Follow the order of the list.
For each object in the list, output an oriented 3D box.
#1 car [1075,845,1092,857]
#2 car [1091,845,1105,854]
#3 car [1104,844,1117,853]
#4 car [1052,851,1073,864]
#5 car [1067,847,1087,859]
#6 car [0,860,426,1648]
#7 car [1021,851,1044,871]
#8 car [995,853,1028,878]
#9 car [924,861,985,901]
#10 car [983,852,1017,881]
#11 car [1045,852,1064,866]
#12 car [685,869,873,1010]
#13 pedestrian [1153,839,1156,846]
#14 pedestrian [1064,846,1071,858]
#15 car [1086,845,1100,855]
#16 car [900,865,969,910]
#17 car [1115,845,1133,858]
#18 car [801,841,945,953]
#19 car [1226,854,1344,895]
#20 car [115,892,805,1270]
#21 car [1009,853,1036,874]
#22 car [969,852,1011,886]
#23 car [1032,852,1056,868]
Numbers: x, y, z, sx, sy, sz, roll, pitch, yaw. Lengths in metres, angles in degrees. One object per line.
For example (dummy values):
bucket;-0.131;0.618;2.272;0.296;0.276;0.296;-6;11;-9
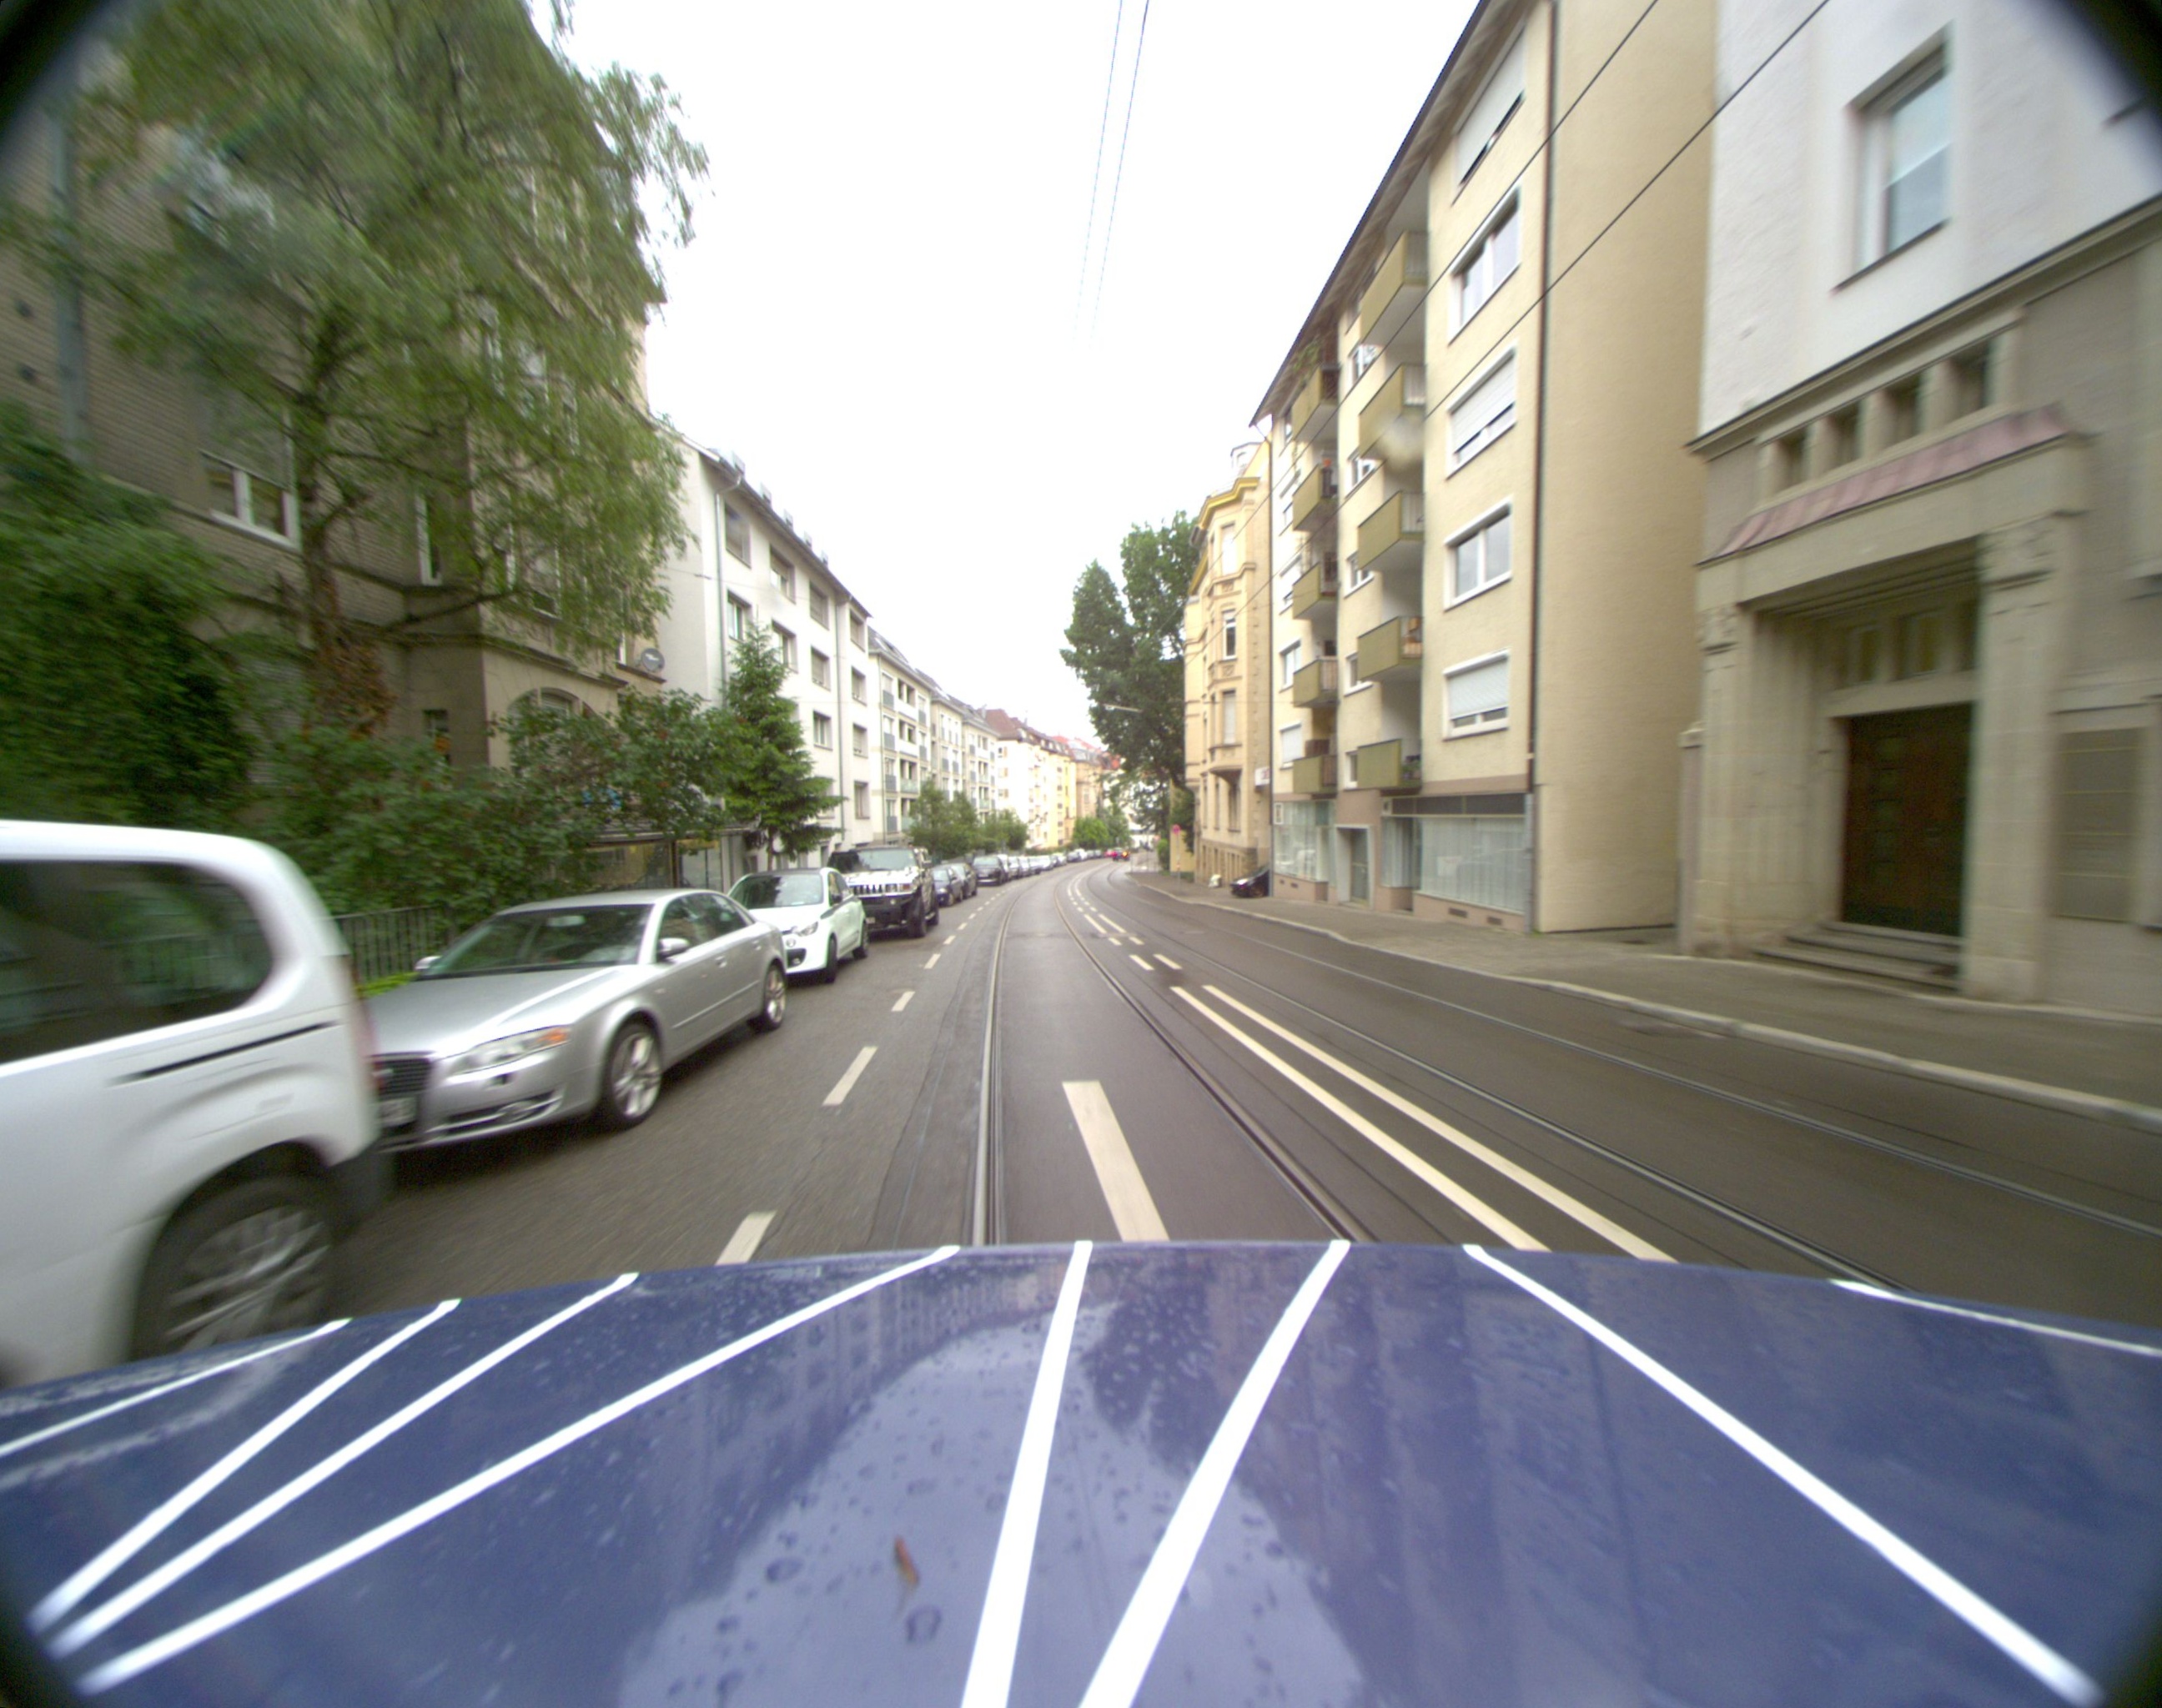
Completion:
car;0.355;-0.432;105.969;1.797;1.613;3.869;-2;1;8
car;2.737;-0.725;119.589;1.658;1.360;3.637;-2;1;10
car;4.959;-0.983;127.028;1.555;1.360;3.126;-2;1;15
car;-2.119;0.411;89.829;1.721;1.459;4.392;-1;1;8
car;-0.550;-0.193;100.528;1.797;1.444;4.105;-2;1;11
car;-3.261;0.958;0.641;1.803;1.755;4.460;-3;1;-6
car;-4.303;0.604;68.069;1.980;1.576;4.564;-1;1;-3
car;-5.152;0.824;56.884;1.836;1.647;4.686;-1;1;1
car;-5.213;1.060;31.820;1.799;1.429;4.610;-2;0;-1
car;-5.373;0.794;50.863;1.783;1.785;4.470;-1;0;0
car;-2.953;0.512;85.070;1.599;1.416;3.516;-1;1;6
car;-4.150;1.072;11.040;1.565;1.537;3.582;-3;1;-6
pedestrian;16.614;-2.610;171.418;0.649;1.652;0.650;0;1;6
pedestrian;-1.843;-0.287;103.491;0.716;1.703;0.665;2;2;12
car;1.838;-0.607;114.698;1.590;1.434;3.477;-2;1;8
car;-5.143;1.134;27.091;1.683;1.330;3.882;-2;0;0
car;5.956;-0.340;104.652;2.068;1.668;4.772;1;2;8
car;-4.418;0.796;17.085;2.135;2.002;5.347;-3;1;-6
car;7.696;0.761;28.946;3.997;1.445;1.740;-1;0;-1
car;-3.676;1.161;5.786;1.754;1.392;4.476;-3;1;-5
car;-4.764;0.758;62.480;1.837;1.618;4.663;-1;1;0
car;-5.349;0.824;45.188;1.947;1.785;4.819;-2;1;-1
car;-3.711;0.587;77.520;1.862;1.507;4.790;-1;1;4
